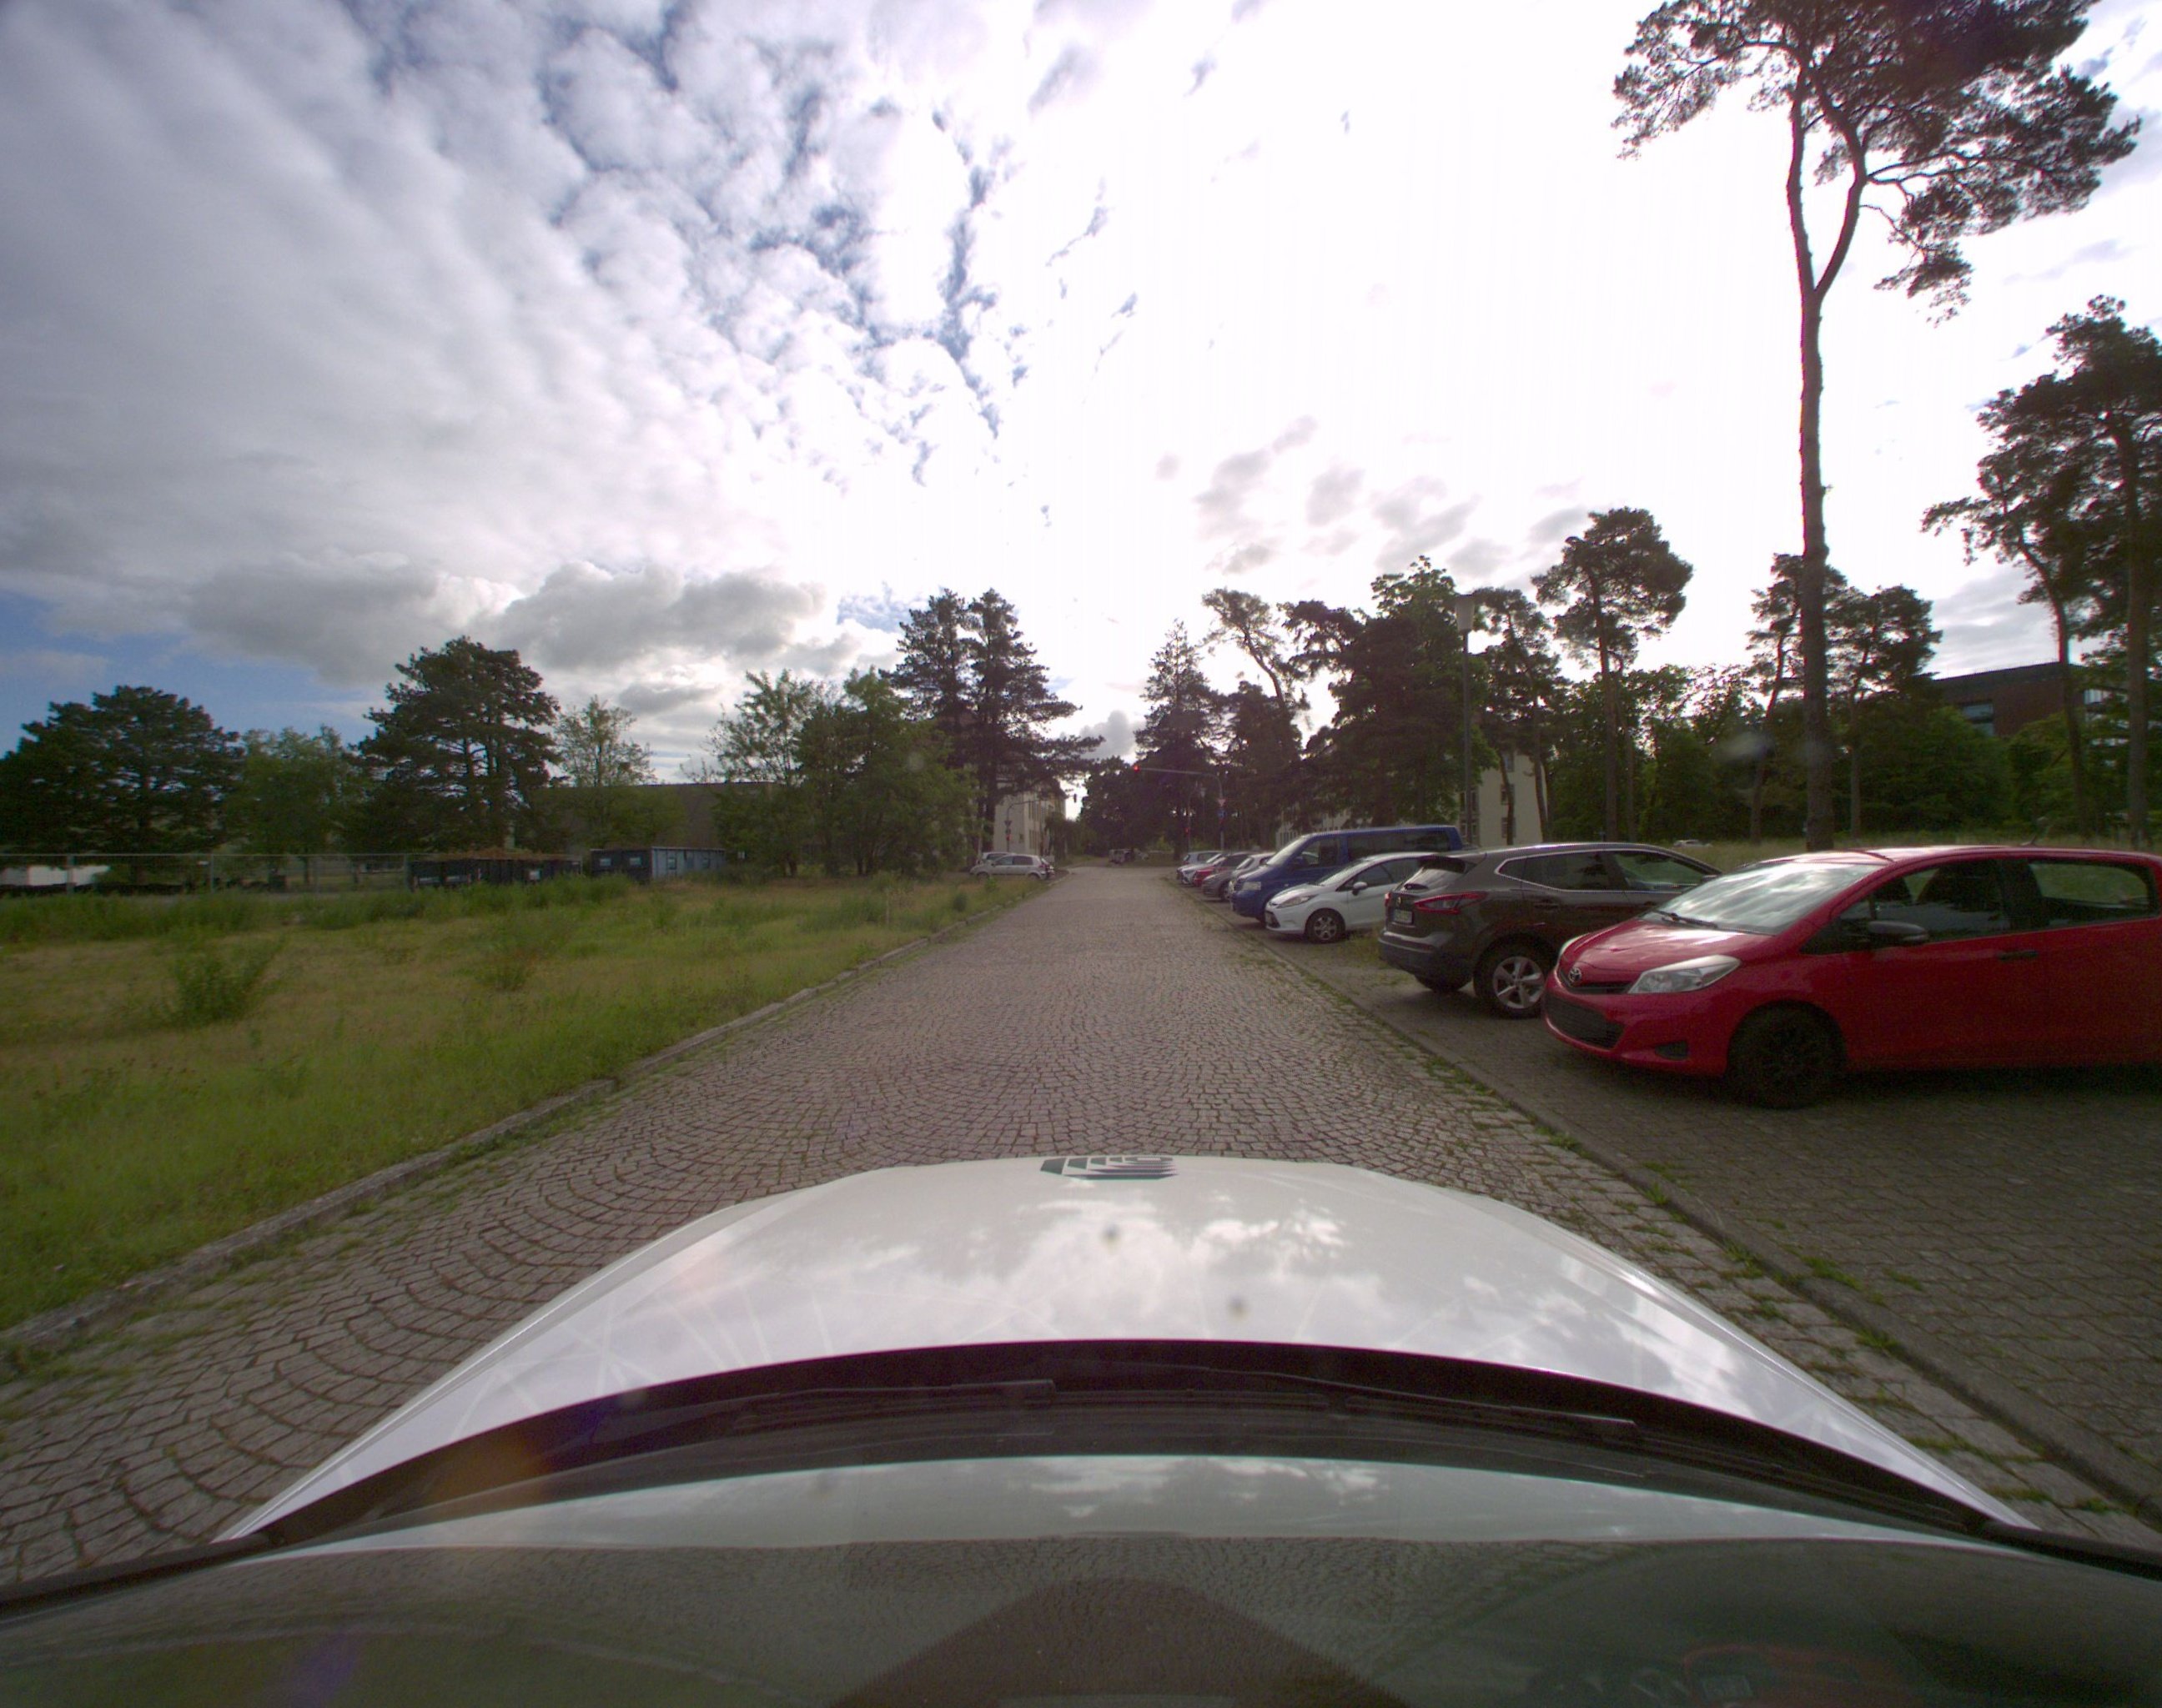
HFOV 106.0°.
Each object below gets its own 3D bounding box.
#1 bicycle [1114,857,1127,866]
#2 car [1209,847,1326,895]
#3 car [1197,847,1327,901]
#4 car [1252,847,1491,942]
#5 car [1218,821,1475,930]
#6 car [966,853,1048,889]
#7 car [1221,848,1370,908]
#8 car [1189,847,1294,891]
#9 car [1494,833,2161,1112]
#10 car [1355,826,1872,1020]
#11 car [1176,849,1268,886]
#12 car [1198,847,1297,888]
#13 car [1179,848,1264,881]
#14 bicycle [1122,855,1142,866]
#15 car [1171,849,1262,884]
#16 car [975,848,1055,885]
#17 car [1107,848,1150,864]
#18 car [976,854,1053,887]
[{"bbox_3d":[4.184,0.821,85.954,0.623,0.945,1.649,0,0,-25],"label":"bicycle"},{"bbox_3d":[6.391,0.577,28.188,3.659,1.449,1.524,-3,0,0],"label":"car"},{"bbox_3d":[5.552,0.613,25.226,3.659,1.449,1.524,-3,0,0],"label":"car"},{"bbox_3d":[5.088,0.687,14.578,3.660,1.449,1.614,-3,0,0],"label":"car"},{"bbox_3d":[5.449,0.425,17.162,4.738,1.954,1.931,-3,0,0],"label":"car"},{"bbox_3d":[-3.614,0.820,40.250,3.810,1.572,1.564,-3,0,-1],"label":"car"},{"bbox_3d":[5.842,0.640,22.433,3.659,1.449,1.524,-3,0,0],"label":"car"},{"bbox_3d":[6.042,0.562,30.910,3.659,1.449,1.524,-3,0,0],"label":"car"},{"bbox_3d":[5.160,0.681,5.541,3.777,1.460,1.752,-3,0,2],"label":"car"},{"bbox_3d":[5.084,0.622,8.193,4.015,1.552,1.751,-3,0,0],"label":"car"},{"bbox_3d":[6.105,0.563,35.451,3.662,1.421,1.523,-3,0,-2],"label":"car"},{"bbox_3d":[6.737,0.550,33.172,3.659,1.449,1.524,-3,0,0],"label":"car"},{"bbox_3d":[7.021,0.527,40.931,3.957,1.421,1.619,-3,0,-2],"label":"car"},{"bbox_3d":[5.676,0.705,89.974,2.131,1.214,0.621,-1,0,-2],"label":"bicycle"},{"bbox_3d":[6.327,0.562,38.303,3.957,1.421,1.619,-3,0,-2],"label":"car"},{"bbox_3d":[-3.666,0.696,45.664,4.246,1.840,1.744,-3,0,2],"label":"car"},{"bbox_3d":[6.291,0.271,107.887,5.440,2.013,2.263,-1,0,-7],"label":"car"},{"bbox_3d":[-3.456,0.854,42.664,3.807,1.572,1.565,-3,0,2],"label":"car"}]
